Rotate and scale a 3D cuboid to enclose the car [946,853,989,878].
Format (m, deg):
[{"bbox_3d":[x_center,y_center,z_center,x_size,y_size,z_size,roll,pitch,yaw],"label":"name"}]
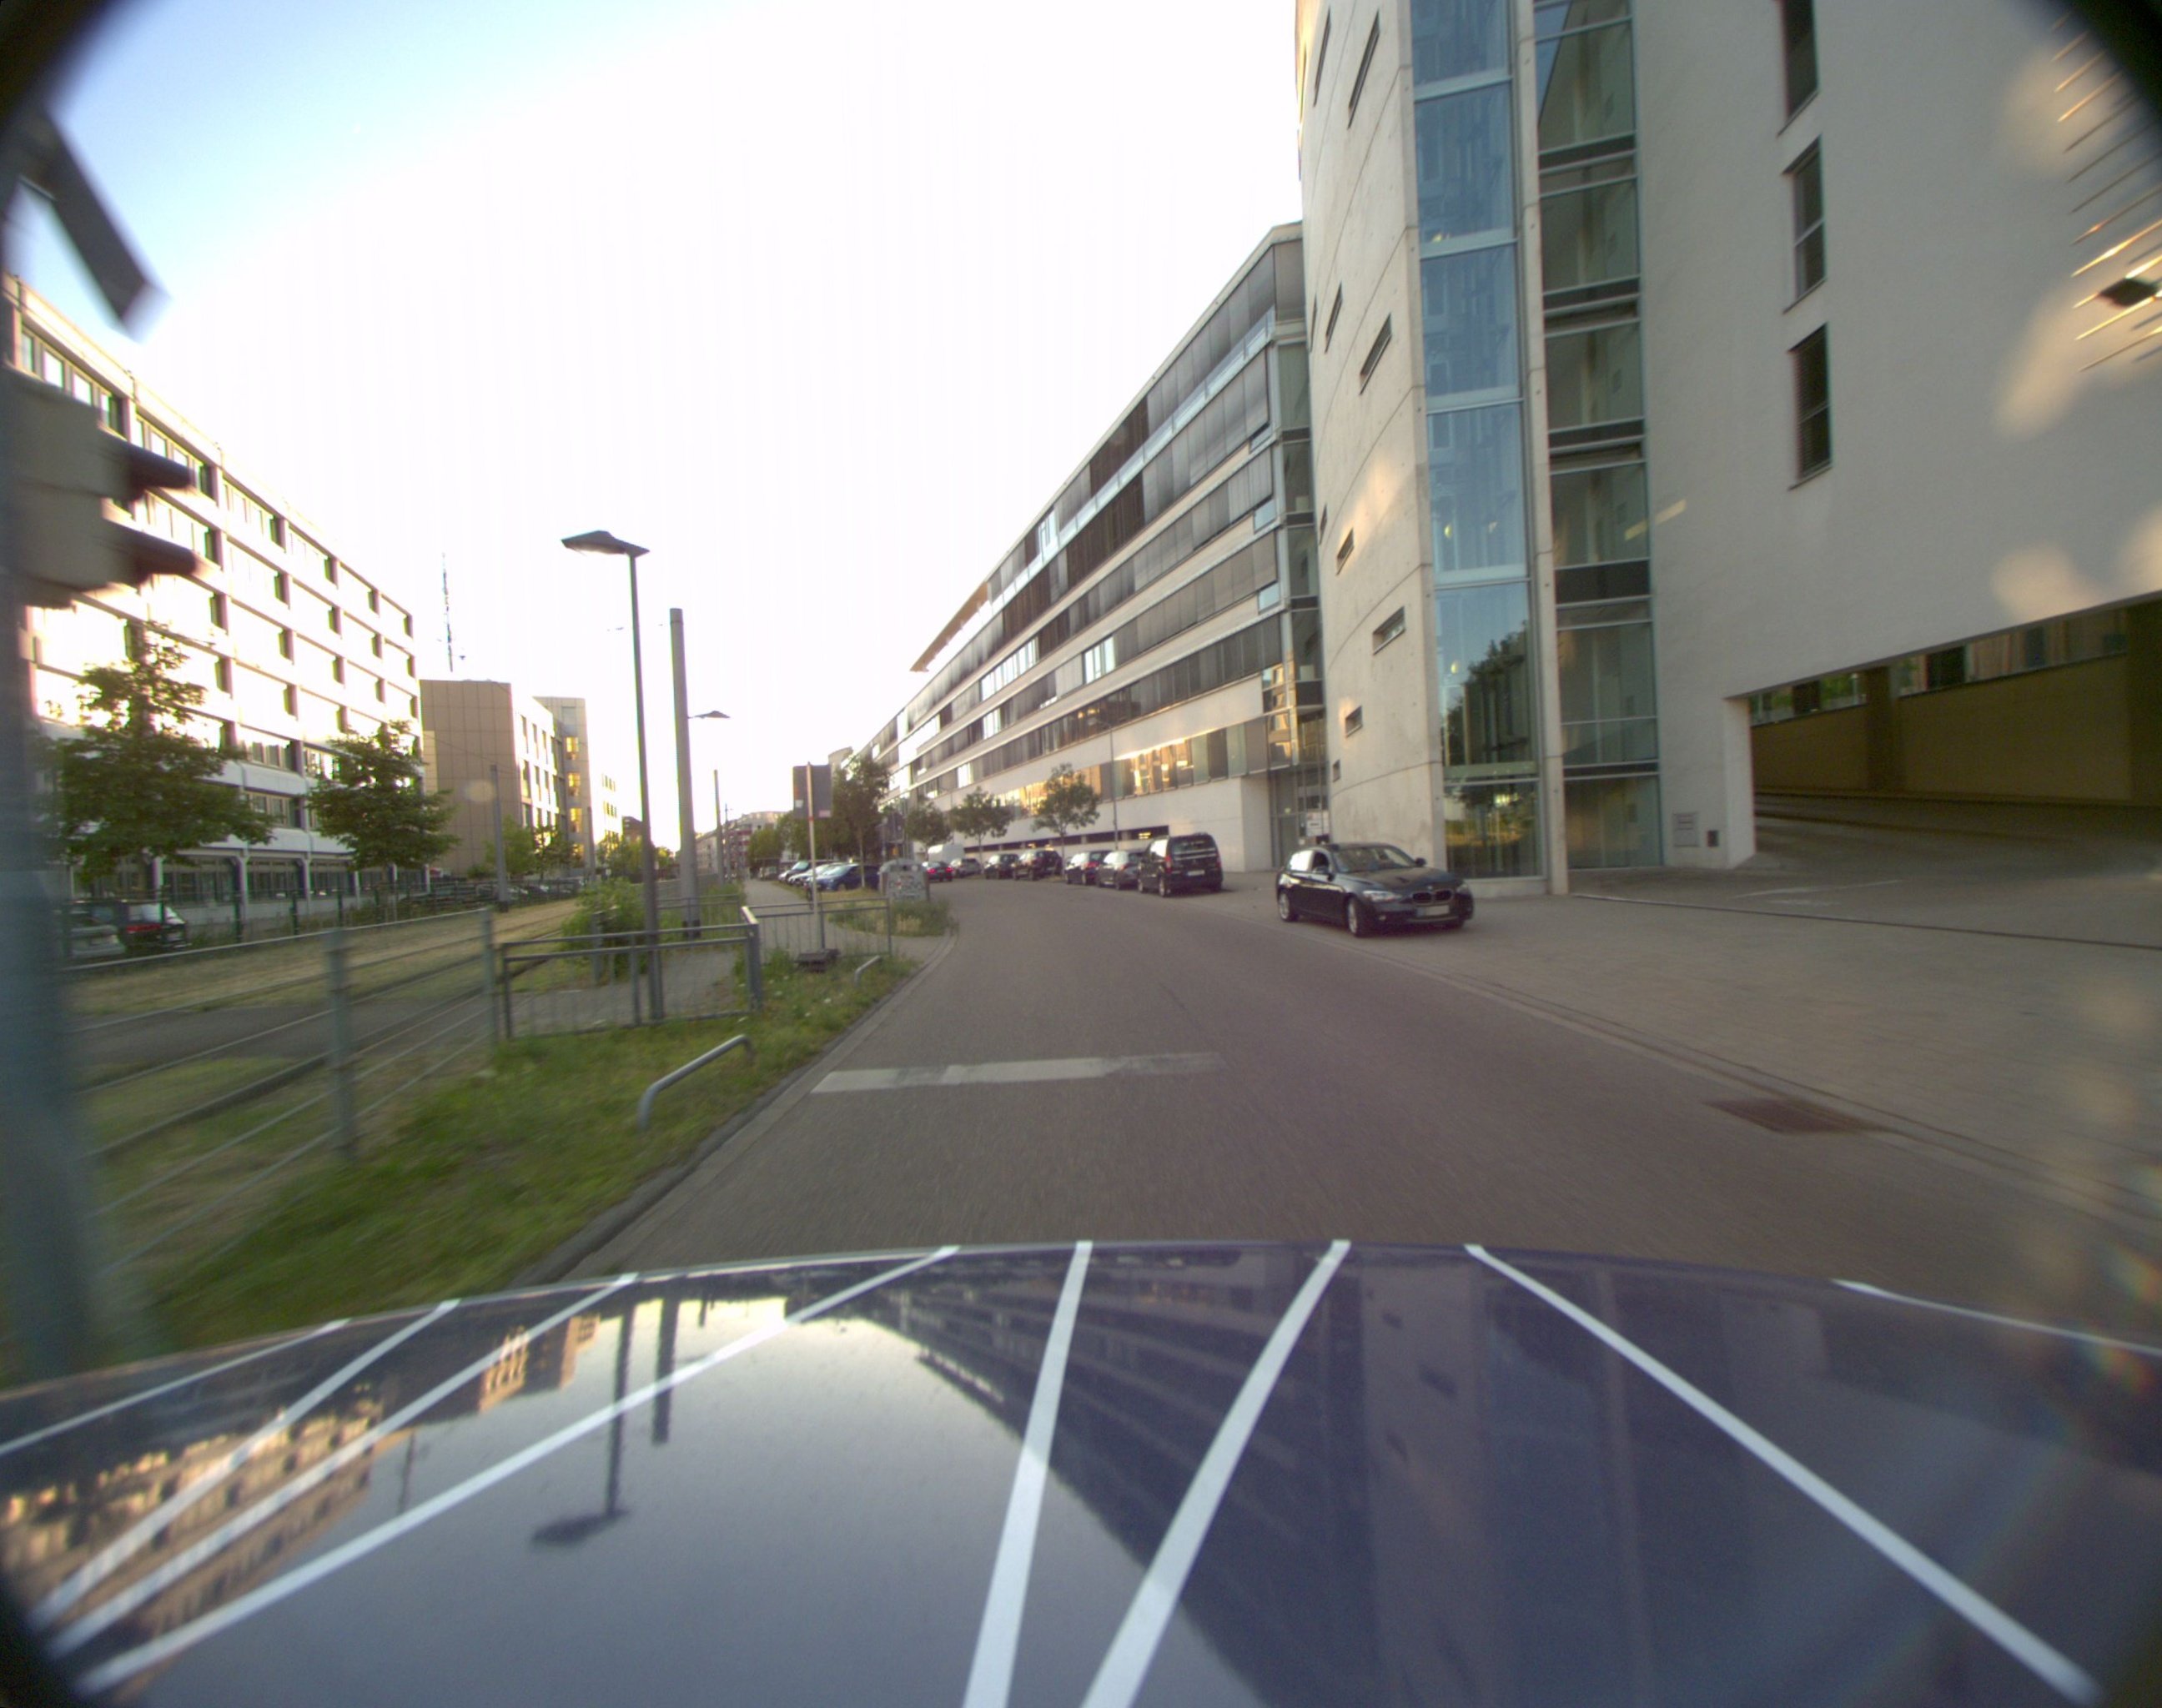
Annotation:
[{"bbox_3d":[-8.295,0.825,55.408,1.800,1.692,3.991,-2,0,-29],"label":"car"}]

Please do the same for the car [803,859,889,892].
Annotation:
[{"bbox_3d":[-11.804,1.049,38.457,1.714,1.368,4.006,-3,1,28],"label":"car"}]

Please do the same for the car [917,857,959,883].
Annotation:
[{"bbox_3d":[-9.735,1.054,51.471,1.861,1.489,4.666,-7,2,-20],"label":"car"}]

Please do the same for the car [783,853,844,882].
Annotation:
[{"bbox_3d":[-20.434,1.002,58.139,1.713,1.948,4.180,-3,1,31],"label":"car"}]

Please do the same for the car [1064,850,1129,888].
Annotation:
[{"bbox_3d":[0.589,0.612,32.966,1.654,1.468,3.760,-3,1,-17],"label":"car"}]

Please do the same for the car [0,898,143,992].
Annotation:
[{"bbox_3d":[-21.490,1.836,14.304,4.410,1.584,1.814,-4,1,-22],"label":"car"}]

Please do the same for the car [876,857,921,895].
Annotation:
[{"bbox_3d":[-8.198,0.954,33.983,1.632,1.503,3.412,-3,1,-17],"label":"car"}]

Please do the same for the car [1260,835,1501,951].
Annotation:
[{"bbox_3d":[4.702,0.534,12.719,1.858,1.434,4.225,-5,1,-7],"label":"car"}]

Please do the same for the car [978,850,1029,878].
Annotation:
[{"bbox_3d":[-4.870,0.633,47.434,1.799,1.542,3.992,-6,2,-26],"label":"car"}]

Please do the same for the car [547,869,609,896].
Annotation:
[{"bbox_3d":[-42.361,2.382,64.116,4.004,2.002,1.996,-4,1,-26],"label":"car"}]

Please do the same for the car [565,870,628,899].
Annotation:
[{"bbox_3d":[-39.339,2.424,61.823,4.004,2.002,1.996,-4,1,-26],"label":"car"}]

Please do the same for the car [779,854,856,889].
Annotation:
[{"bbox_3d":[-15.437,0.993,44.683,1.713,1.746,4.007,-3,1,31],"label":"car"}]

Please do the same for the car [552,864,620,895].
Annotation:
[{"bbox_3d":[-37.921,1.919,58.290,4.004,2.002,1.996,-4,1,-26],"label":"car"}]

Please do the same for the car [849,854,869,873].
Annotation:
[{"bbox_3d":[-31.568,1.325,107.983,2.002,2.570,3.992,-3,1,-25],"label":"car"}]

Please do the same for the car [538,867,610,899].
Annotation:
[{"bbox_3d":[-37.103,2.103,55.695,4.004,2.002,1.996,-4,1,-26],"label":"car"}]

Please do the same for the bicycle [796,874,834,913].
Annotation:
[{"bbox_3d":[-8.687,1.266,24.892,0.542,1.128,1.925,-3,1,-2],"label":"bicycle"}]

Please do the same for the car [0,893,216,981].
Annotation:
[{"bbox_3d":[-22.591,1.846,16.852,4.003,1.584,1.814,-4,1,-22],"label":"car"}]

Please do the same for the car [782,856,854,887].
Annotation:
[{"bbox_3d":[-16.275,1.033,47.180,1.713,1.634,4.007,-3,1,31],"label":"car"}]

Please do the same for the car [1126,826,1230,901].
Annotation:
[{"bbox_3d":[2.908,0.277,23.878,1.895,1.961,4.514,-5,1,-9],"label":"car"}]

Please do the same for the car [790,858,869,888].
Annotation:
[{"bbox_3d":[-13.856,1.001,42.093,1.714,1.368,4.006,-3,1,28],"label":"car"}]

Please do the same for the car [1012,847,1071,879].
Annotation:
[{"bbox_3d":[-2.243,0.488,41.772,1.800,1.676,3.992,-2,0,-26],"label":"car"}]

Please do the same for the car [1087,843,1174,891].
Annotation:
[{"bbox_3d":[1.757,0.459,28.650,1.867,1.468,4.514,-6,1,-14],"label":"car"}]

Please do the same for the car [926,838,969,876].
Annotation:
[{"bbox_3d":[-10.758,0.259,60.791,2.008,2.859,6.244,-2,0,-23],"label":"car"}]
